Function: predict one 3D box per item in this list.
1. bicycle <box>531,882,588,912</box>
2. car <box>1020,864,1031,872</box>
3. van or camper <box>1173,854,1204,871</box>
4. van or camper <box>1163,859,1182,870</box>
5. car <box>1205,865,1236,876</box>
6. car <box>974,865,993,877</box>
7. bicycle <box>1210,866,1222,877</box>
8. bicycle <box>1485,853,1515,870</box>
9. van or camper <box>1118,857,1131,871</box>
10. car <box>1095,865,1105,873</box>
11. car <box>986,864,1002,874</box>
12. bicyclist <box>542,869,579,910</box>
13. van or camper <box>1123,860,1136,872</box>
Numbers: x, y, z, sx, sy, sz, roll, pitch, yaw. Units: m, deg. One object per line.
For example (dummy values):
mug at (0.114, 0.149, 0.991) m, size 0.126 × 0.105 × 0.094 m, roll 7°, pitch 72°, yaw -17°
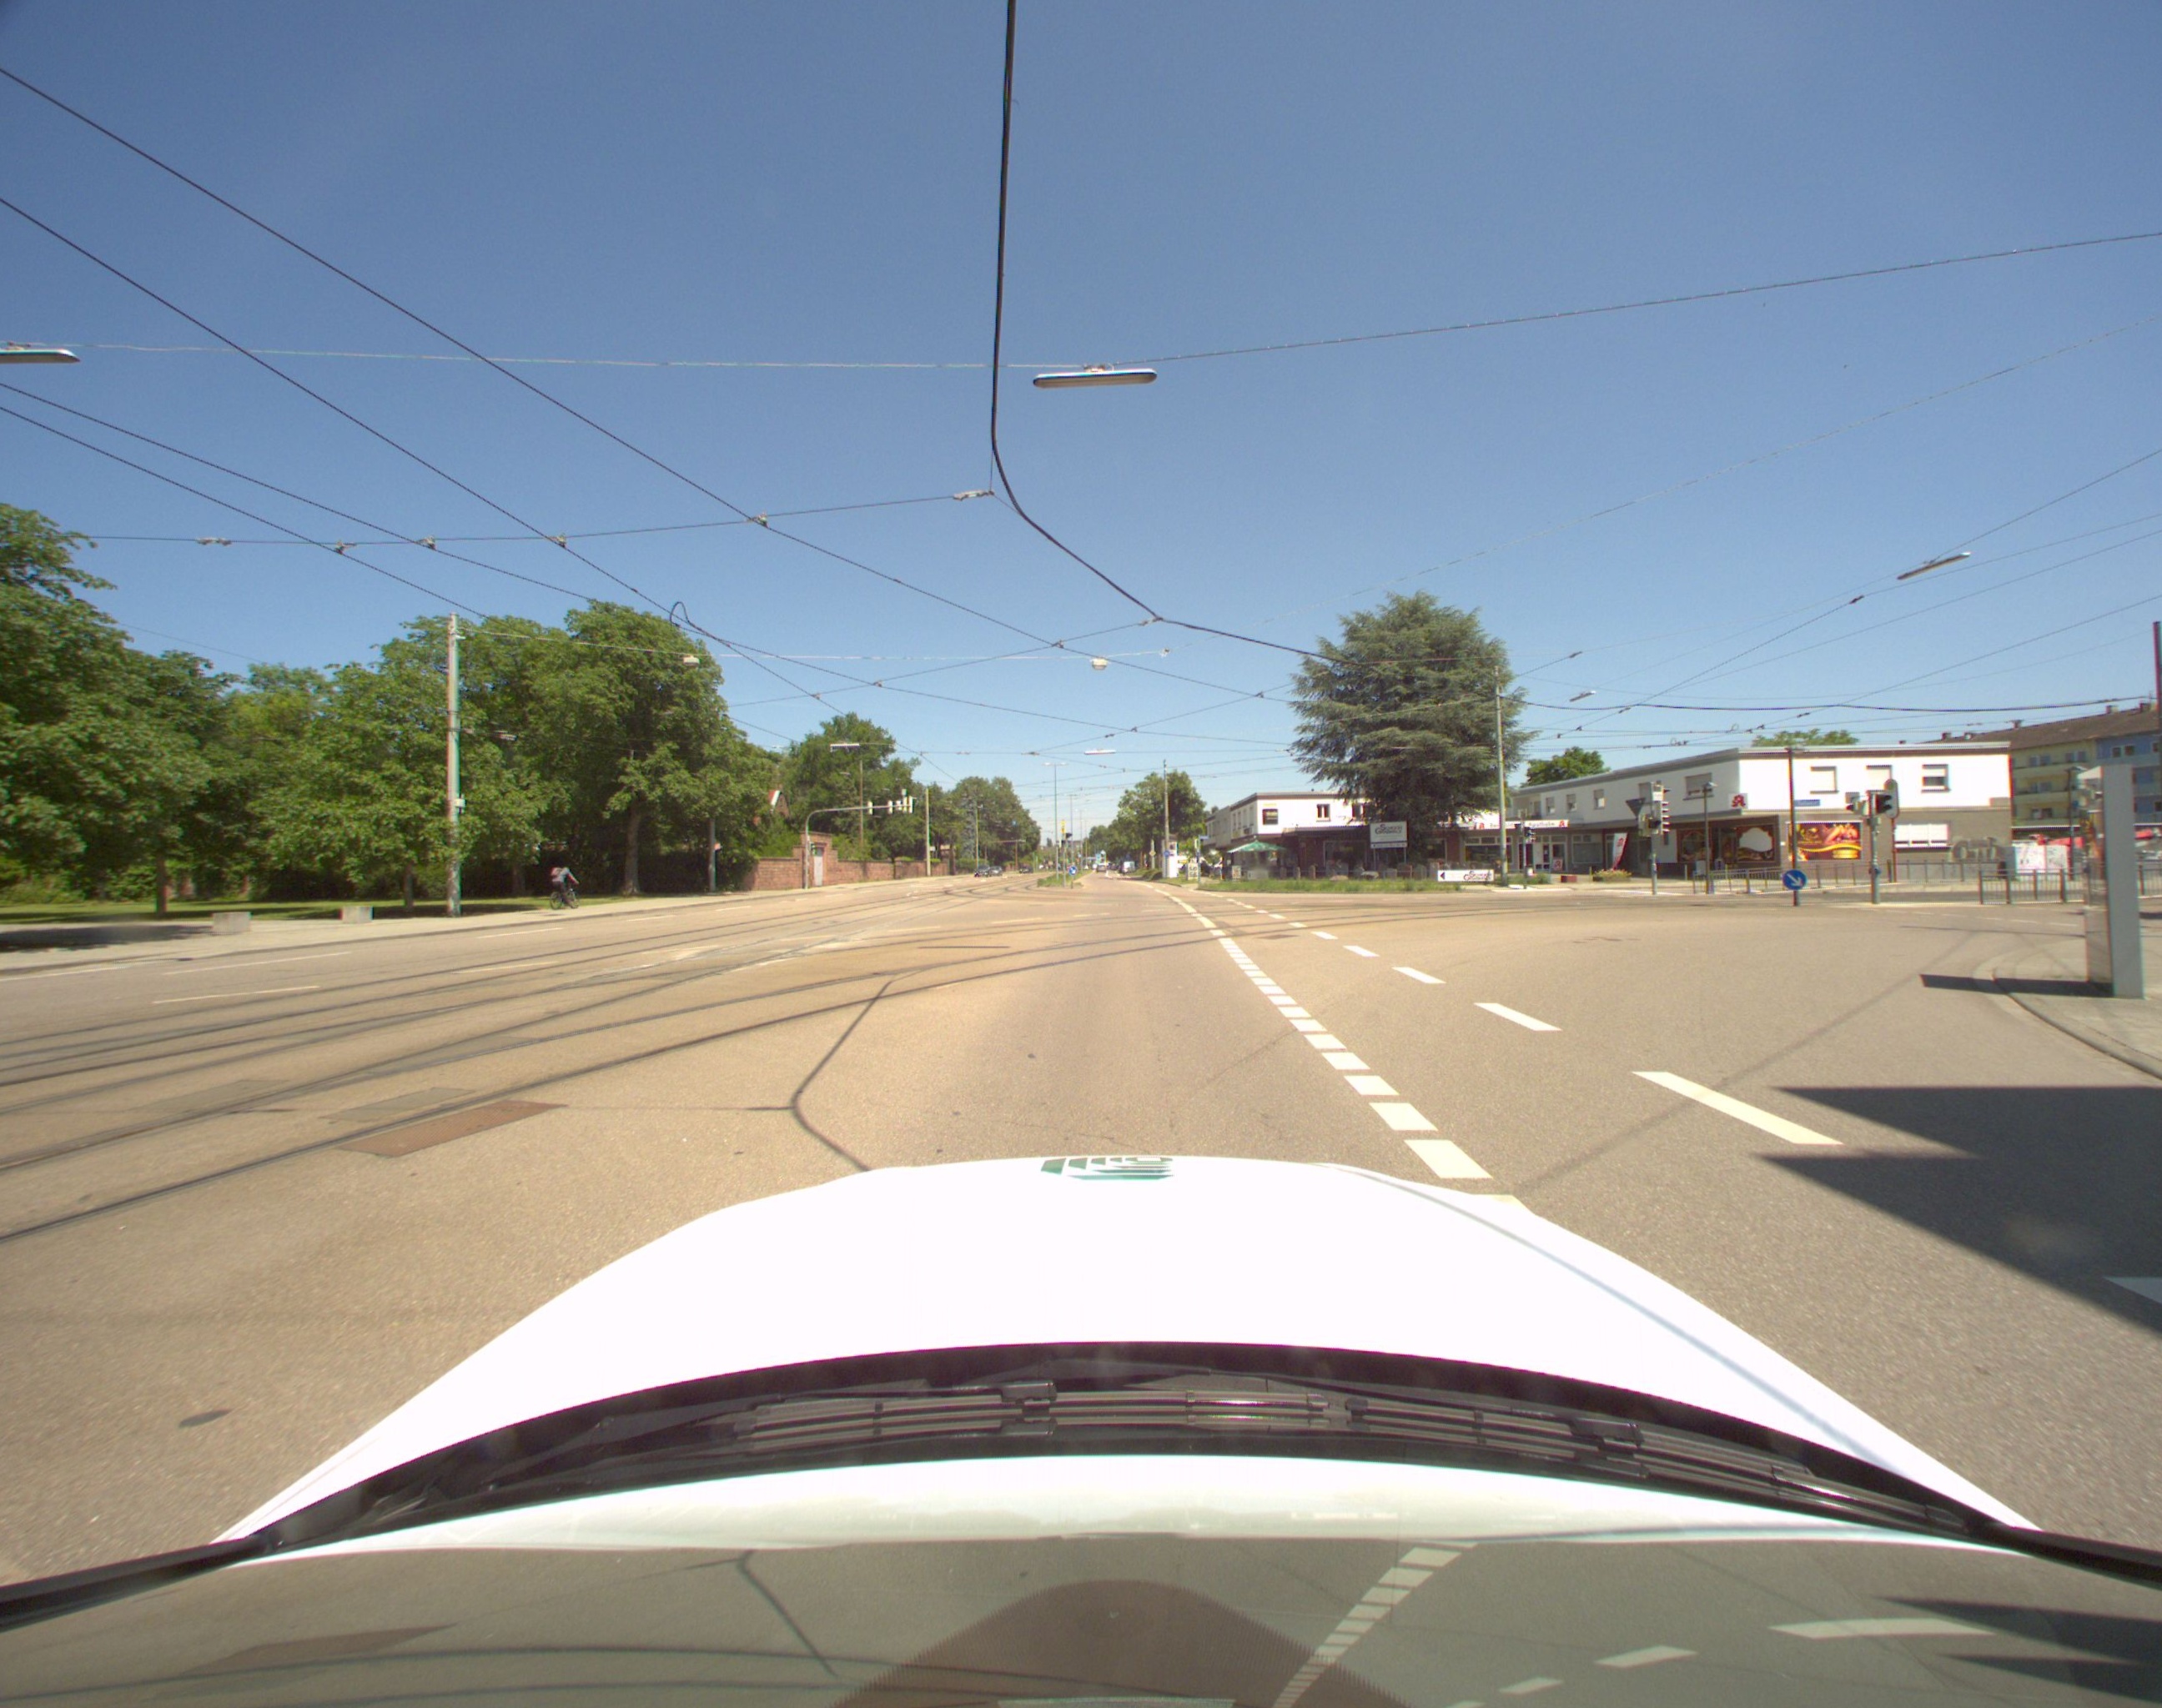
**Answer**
bicycle at (-19.717, 1.613, 30.847) m, size 0.712 × 1.041 × 2.104 m, roll -1°, pitch -1°, yaw 2°
car at (-10.250, 2.552, 150.078) m, size 1.635 × 1.399 × 4.116 m, roll 1°, pitch -1°, yaw 1°
van or camper at (17.468, 1.349, 132.008) m, size 4.741 × 2.671 × 2.135 m, roll -1°, pitch -1°, yaw 0°
van or camper at (17.600, 1.981, 156.826) m, size 3.546 × 2.146 × 1.602 m, roll -1°, pitch -1°, yaw 0°
car at (17.631, 2.100, 103.112) m, size 3.601 × 1.351 × 1.488 m, roll -1°, pitch -1°, yaw -5°
car at (-13.006, 2.276, 109.078) m, size 1.812 × 1.603 × 4.523 m, roll -1°, pitch -1°, yaw 3°
bicycle at (12.137, 1.557, 73.123) m, size 1.027 × 1.015 × 2.643 m, roll -1°, pitch -1°, yaw 9°
bicycle at (30.065, 0.558, 58.477) m, size 1.858 × 1.192 × 0.600 m, roll 0°, pitch -2°, yaw 13°
van or camper at (7.477, 1.748, 141.572) m, size 1.987 × 2.464 × 3.998 m, roll -1°, pitch -1°, yaw -1°
car at (3.411, 2.652, 145.871) m, size 1.632 × 1.351 × 3.840 m, roll -1°, pitch -1°, yaw -1°
car at (-12.886, 2.267, 120.546) m, size 1.634 × 1.421 × 4.172 m, roll -1°, pitch -1°, yaw 4°
bicyclist at (-19.721, 1.344, 30.881) m, size 0.847 × 1.531 × 0.845 m, roll -1°, pitch -1°, yaw 1°
van or camper at (7.079, 1.753, 119.086) m, size 1.914 × 1.772 × 4.002 m, roll -1°, pitch -1°, yaw 2°
